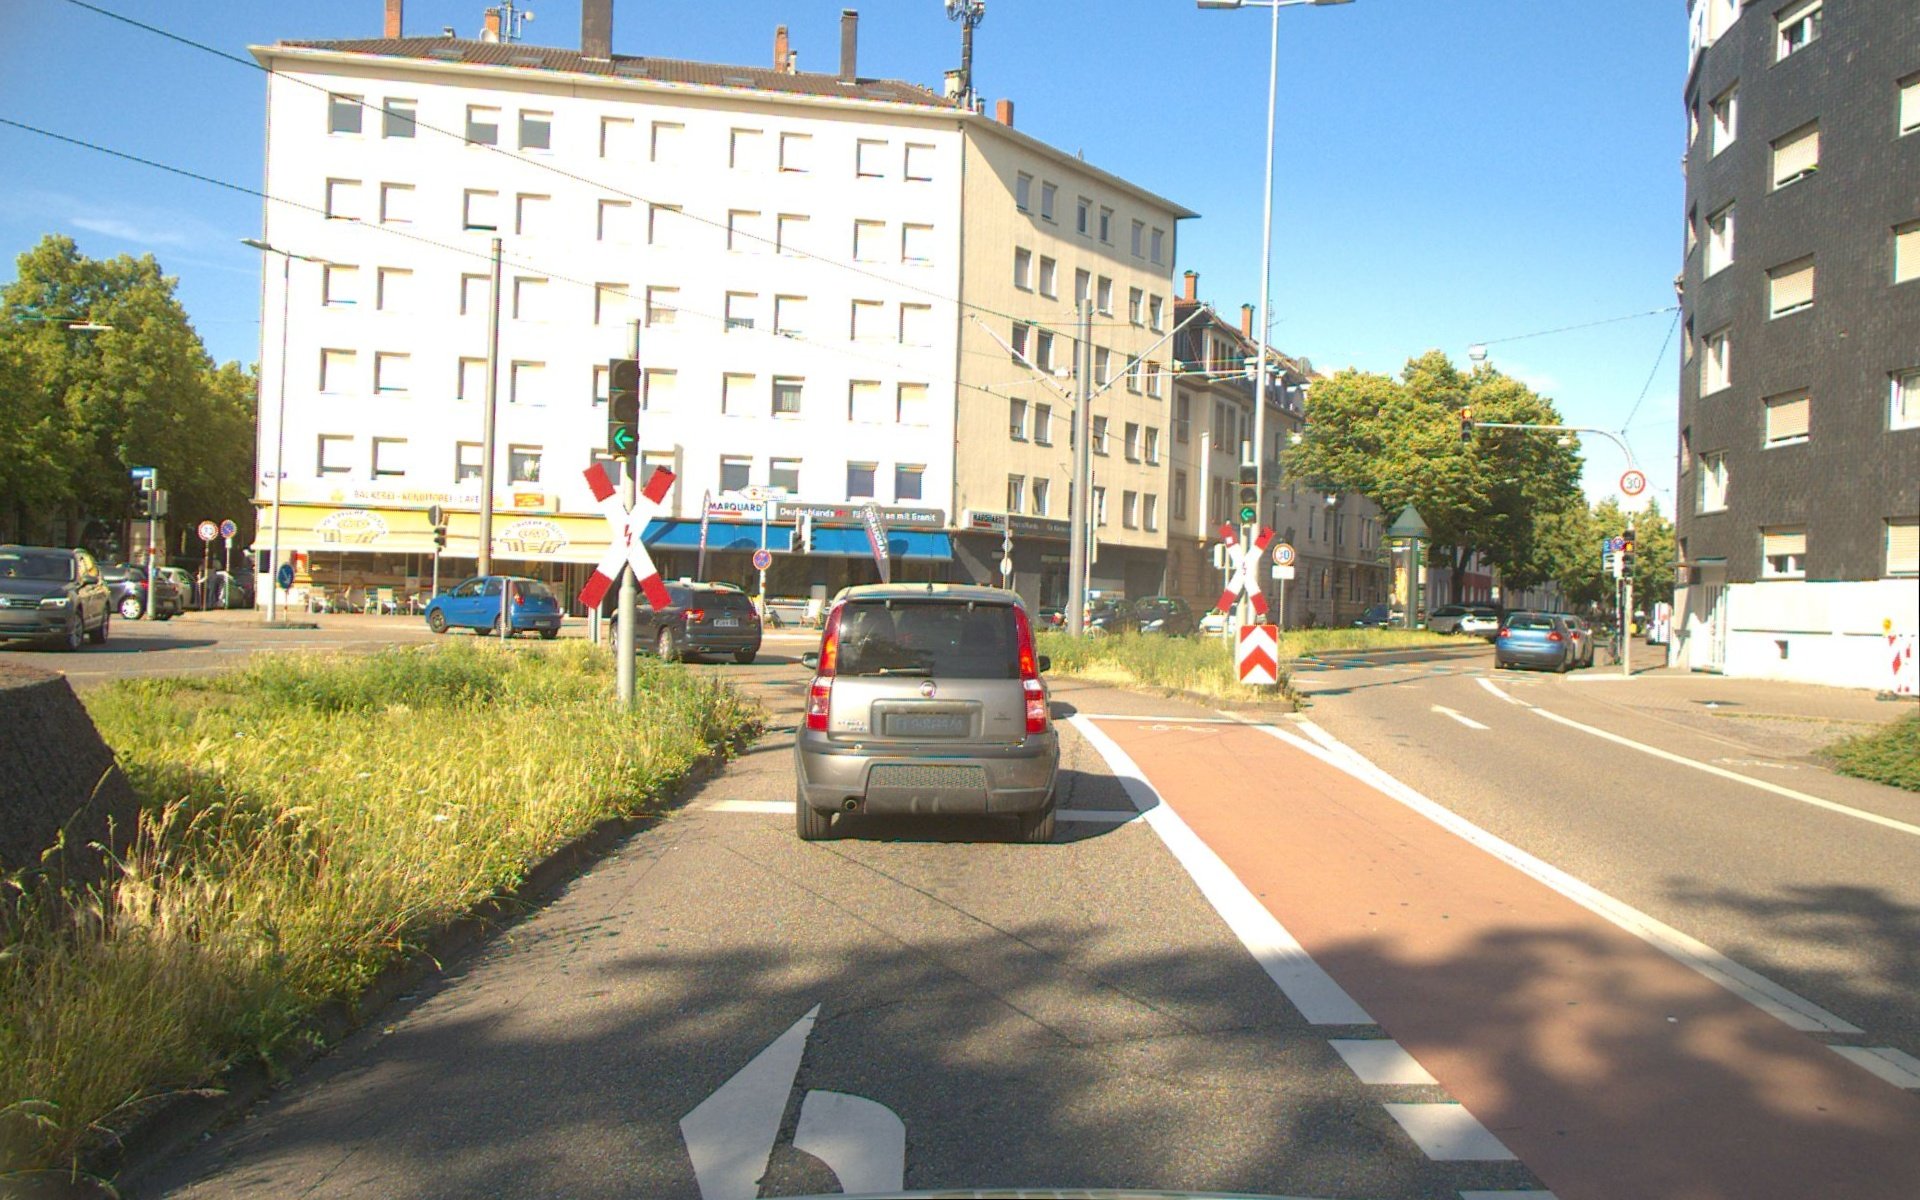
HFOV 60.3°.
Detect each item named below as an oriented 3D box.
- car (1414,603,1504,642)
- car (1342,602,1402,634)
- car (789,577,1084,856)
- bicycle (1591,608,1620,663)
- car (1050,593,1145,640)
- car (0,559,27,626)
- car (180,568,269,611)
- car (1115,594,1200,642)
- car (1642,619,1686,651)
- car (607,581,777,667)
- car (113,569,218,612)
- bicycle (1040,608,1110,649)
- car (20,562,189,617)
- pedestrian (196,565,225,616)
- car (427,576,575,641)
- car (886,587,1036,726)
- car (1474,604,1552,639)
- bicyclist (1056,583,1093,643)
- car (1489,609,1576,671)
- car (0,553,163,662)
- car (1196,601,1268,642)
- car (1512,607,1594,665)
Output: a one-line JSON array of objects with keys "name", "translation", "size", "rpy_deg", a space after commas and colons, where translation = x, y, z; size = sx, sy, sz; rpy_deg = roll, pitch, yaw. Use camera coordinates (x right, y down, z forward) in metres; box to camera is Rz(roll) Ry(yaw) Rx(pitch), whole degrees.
[{"name": "car", "translation": [22.544, 1.005, 74.897], "size": [1.876, 1.621, 3.976], "rpy_deg": [2, 0, -20]}, {"name": "car", "translation": [20.873, 0.914, 83.681], "size": [1.956, 1.498, 3.993], "rpy_deg": [2, 0, 29]}, {"name": "car", "translation": [-0.285, 0.655, 10.962], "size": [1.628, 1.536, 3.247], "rpy_deg": [2, 0, -6]}, {"name": "bicycle", "translation": [18.918, 1.025, 48.441], "size": [0.562, 1.537, 2.805], "rpy_deg": [2, 0, 26]}, {"name": "car", "translation": [4.476, 0.547, 53.493], "size": [1.756, 1.420, 3.720], "rpy_deg": [2, 0, 27]}, {"name": "car", "translation": [-23.395, -0.242, 36.516], "size": [4.763, 1.467, 1.736], "rpy_deg": [2, 0, 8]}, {"name": "car", "translation": [-27.998, -0.399, 63.098], "size": [1.899, 1.539, 3.934], "rpy_deg": [2, 0, -6]}, {"name": "car", "translation": [7.060, 0.635, 58.749], "size": [1.756, 1.593, 3.761], "rpy_deg": [2, 0, 27]}, {"name": "car", "translation": [39.906, 2.015, 93.687], "size": [1.955, 1.646, 3.994], "rpy_deg": [2, -1, 27]}, {"name": "car", "translation": [-5.307, 0.432, 32.323], "size": [1.743, 1.512, 4.246], "rpy_deg": [2, 0, -32]}, {"name": "car", "translation": [-26.489, -0.310, 55.289], "size": [1.956, 1.333, 3.993], "rpy_deg": [2, 0, -8]}, {"name": "bicycle", "translation": [3.110, 0.772, 44.910], "size": [1.819, 1.050, 0.587], "rpy_deg": [2, 0, 34]}, {"name": "car", "translation": [-22.292, -0.276, 43.204], "size": [3.551, 1.275, 1.691], "rpy_deg": [2, 0, -13]}, {"name": "pedestrian", "translation": [-24.863, -0.323, 54.855], "size": [0.783, 1.649, 0.821], "rpy_deg": [1, 0, -30]}, {"name": "car", "translation": [-11.367, 0.199, 40.952], "size": [3.322, 1.463, 1.648], "rpy_deg": [2, 0, 30]}, {"name": "car", "translation": [-0.053, 0.604, 19.755], "size": [1.588, 1.454, 3.687], "rpy_deg": [2, 0, -2]}, {"name": "car", "translation": [31.012, 1.192, 92.793], "size": [3.748, 1.817, 1.831], "rpy_deg": [2, 0, 40]}, {"name": "bicyclist", "translation": [3.113, 0.355, 44.915], "size": [0.807, 1.586, 0.560], "rpy_deg": [2, 0, 35]}, {"name": "car", "translation": [14.913, 1.005, 42.994], "size": [1.740, 1.468, 3.616], "rpy_deg": [3, 1, 25]}, {"name": "car", "translation": [-15.093, 0.088, 27.708], "size": [1.720, 1.642, 4.715], "rpy_deg": [2, 0, -8]}, {"name": "car", "translation": [10.726, 0.846, 65.040], "size": [1.756, 1.508, 3.527], "rpy_deg": [2, 0, 27]}, {"name": "car", "translation": [17.054, 0.993, 47.444], "size": [1.784, 1.534, 3.996], "rpy_deg": [2, 0, 26]}]
